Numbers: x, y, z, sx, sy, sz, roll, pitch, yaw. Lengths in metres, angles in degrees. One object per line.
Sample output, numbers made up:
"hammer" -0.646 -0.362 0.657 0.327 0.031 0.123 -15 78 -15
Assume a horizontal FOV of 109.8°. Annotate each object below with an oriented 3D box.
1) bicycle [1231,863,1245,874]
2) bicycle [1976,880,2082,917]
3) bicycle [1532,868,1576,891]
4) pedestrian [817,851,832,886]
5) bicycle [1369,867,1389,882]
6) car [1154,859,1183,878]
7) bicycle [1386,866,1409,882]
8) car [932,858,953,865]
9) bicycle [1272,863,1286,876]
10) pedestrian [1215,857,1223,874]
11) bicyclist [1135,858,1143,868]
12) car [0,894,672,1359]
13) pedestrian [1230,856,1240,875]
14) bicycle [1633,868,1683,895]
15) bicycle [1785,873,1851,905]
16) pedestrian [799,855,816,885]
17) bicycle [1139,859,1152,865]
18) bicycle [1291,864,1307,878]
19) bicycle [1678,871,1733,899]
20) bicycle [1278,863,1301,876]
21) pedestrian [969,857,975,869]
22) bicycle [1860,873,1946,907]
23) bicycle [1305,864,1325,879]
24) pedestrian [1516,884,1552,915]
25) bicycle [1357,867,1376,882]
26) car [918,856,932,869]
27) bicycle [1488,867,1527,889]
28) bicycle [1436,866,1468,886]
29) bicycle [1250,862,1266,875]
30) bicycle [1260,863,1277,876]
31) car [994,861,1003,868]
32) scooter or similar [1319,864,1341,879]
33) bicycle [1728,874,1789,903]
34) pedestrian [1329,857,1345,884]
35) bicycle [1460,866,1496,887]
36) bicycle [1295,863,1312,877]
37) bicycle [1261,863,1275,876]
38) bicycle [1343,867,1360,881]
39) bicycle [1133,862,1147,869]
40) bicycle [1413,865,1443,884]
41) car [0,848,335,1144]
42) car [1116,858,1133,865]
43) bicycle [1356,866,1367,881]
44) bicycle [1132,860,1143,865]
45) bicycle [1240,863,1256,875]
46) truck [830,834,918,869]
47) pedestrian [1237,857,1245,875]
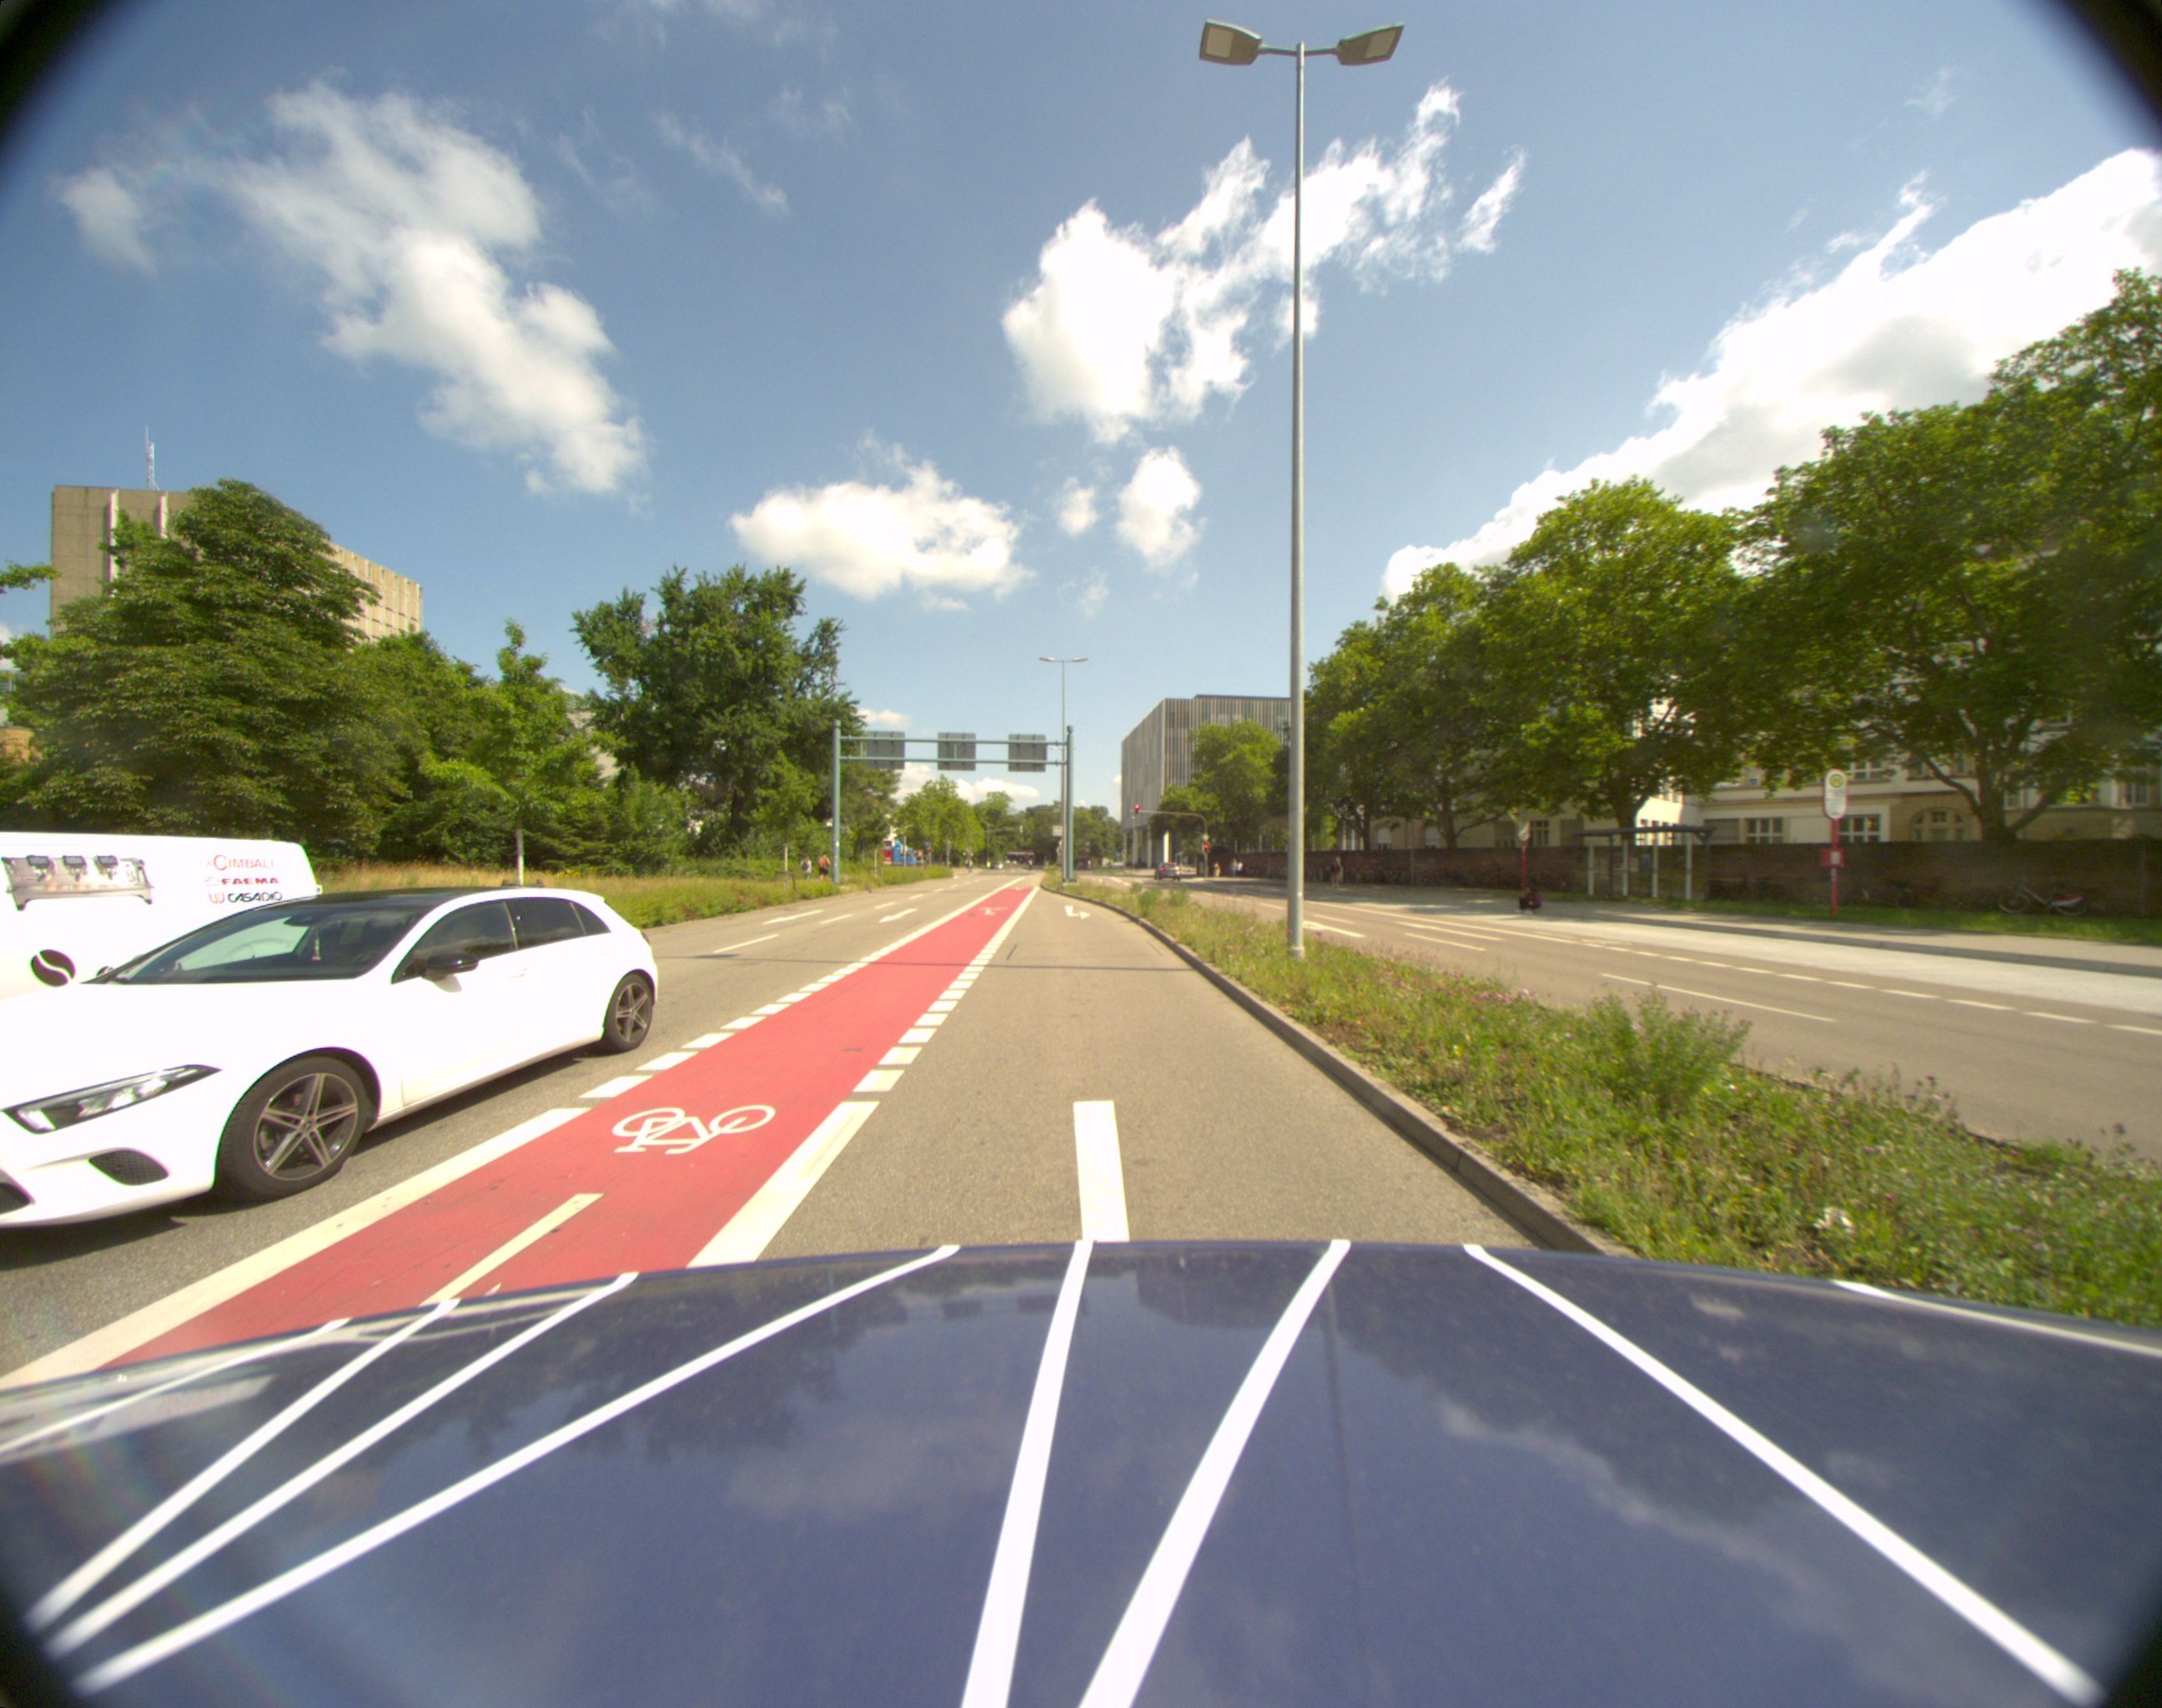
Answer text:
"bicycle" 14.537 1.321 70.401 0.632 1.042 1.879 0 0 -11
"bicycle" 28.689 1.331 23.041 0.473 1.005 1.960 0 0 -23
"bicycle" 22.749 1.210 36.571 0.585 1.067 1.752 0 0 -23
"pedestrian" -13.216 0.754 39.218 0.568 1.791 0.638 0 0 -2
"bicycle" 19.160 1.316 48.845 0.368 0.949 1.400 0 0 -17
"car" 7.081 1.192 62.002 1.705 1.436 4.145 1 0 -2
"bicycle" 19.608 1.249 47.069 0.371 0.949 1.624 0 0 -17
"car" -27.679 1.468 151.429 4.002 1.416 1.755 0 0 -13
"bicycle" 16.164 1.266 62.049 0.371 1.042 1.879 0 0 -11
"pedestrian" 13.021 1.076 71.717 0.562 1.641 0.726 0 0 -7
"bicyclist" 7.901 1.225 103.980 0.944 1.456 0.633 0 0 29
"car" -4.731 1.069 4.833 1.909 1.415 4.384 0 0 0
"pedestrian" 13.700 1.020 67.731 0.643 1.641 0.731 0 0 -7
"bicycle" 24.446 1.157 32.209 0.585 1.067 1.628 0 0 -23
"bicycle" 26.559 1.247 27.408 0.585 1.067 1.628 0 0 -23
"pedestrian" -14.035 0.818 39.051 0.624 1.571 0.708 0 0 -2
"bicycle" 12.274 1.517 144.606 2.218 1.090 0.722 0 0 -10
"bicycle" 16.656 1.287 58.073 0.374 1.042 1.879 0 0 -11
"bicycle" 25.124 1.243 30.597 0.585 1.067 1.628 0 0 -23
"bicycle" 16.457 1.209 60.030 0.594 1.042 1.877 0 0 -27
"pedestrian" -14.965 1.292 104.313 0.741 1.640 0.639 0 0 4
"bicycle" 27.529 1.181 25.486 0.584 1.067 1.867 0 0 -19
"bicycle" 17.315 1.281 56.266 0.582 1.042 1.879 0 0 -11
"pedestrian" 14.534 1.446 24.366 0.696 0.957 0.743 0 0 -3
"bicycle" 18.909 1.354 50.322 0.368 0.949 1.400 0 0 -17
"car" -26.315 1.435 128.541 2.000 2.002 4.899 0 0 -8
"bicycle" 21.819 1.212 38.937 0.585 1.067 1.752 0 0 -23
"bicycle" 20.781 1.229 42.591 0.584 1.067 1.753 0 0 -19
"bicycle" 15.404 1.266 66.148 0.566 1.042 1.879 0 0 -11
"bicycle" 15.459 1.268 62.729 0.594 1.042 1.879 0 0 -11
"car" -15.611 2.000 143.683 1.709 1.321 3.997 3 -1 -7
"scooter or similar" 17.827 1.272 54.424 0.582 1.042 1.879 0 0 -11
"bicycle" 25.803 1.300 28.967 0.585 1.067 1.628 0 0 -23
"pedestrian" 15.470 1.009 45.902 0.658 1.600 0.744 -1 0 -1
"bicycle" 21.285 1.207 40.762 0.585 1.067 1.752 0 0 -23
"bicycle" 17.042 1.223 58.153 0.395 1.042 1.879 0 0 -11
"bicycle" 15.789 1.273 64.177 0.371 1.042 1.879 0 0 -11
"bicycle" 18.407 1.368 51.729 0.368 0.949 1.400 0 0 -17
"bicycle" 8.032 1.605 103.905 1.771 0.887 0.639 0 0 30
"bicycle" 20.213 1.191 44.322 0.584 1.067 1.753 0 0 -17
"car" -7.758 0.890 4.502 1.947 1.859 4.825 0 0 -1
"car" 10.870 1.932 190.885 3.998 1.676 1.646 0 0 -3
"bicycle" 18.393 1.270 49.837 0.367 0.949 1.626 0 0 7
"bicycle" 11.606 1.744 157.066 2.218 1.090 0.722 0 0 -10
"bicycle" 15.004 1.312 68.292 0.632 1.042 1.879 0 0 -11
"truck" -22.668 -0.228 83.518 9.196 3.777 2.662 0 0 -15
"pedestrian" 14.377 1.076 68.287 0.477 1.531 0.616 0 0 -7
